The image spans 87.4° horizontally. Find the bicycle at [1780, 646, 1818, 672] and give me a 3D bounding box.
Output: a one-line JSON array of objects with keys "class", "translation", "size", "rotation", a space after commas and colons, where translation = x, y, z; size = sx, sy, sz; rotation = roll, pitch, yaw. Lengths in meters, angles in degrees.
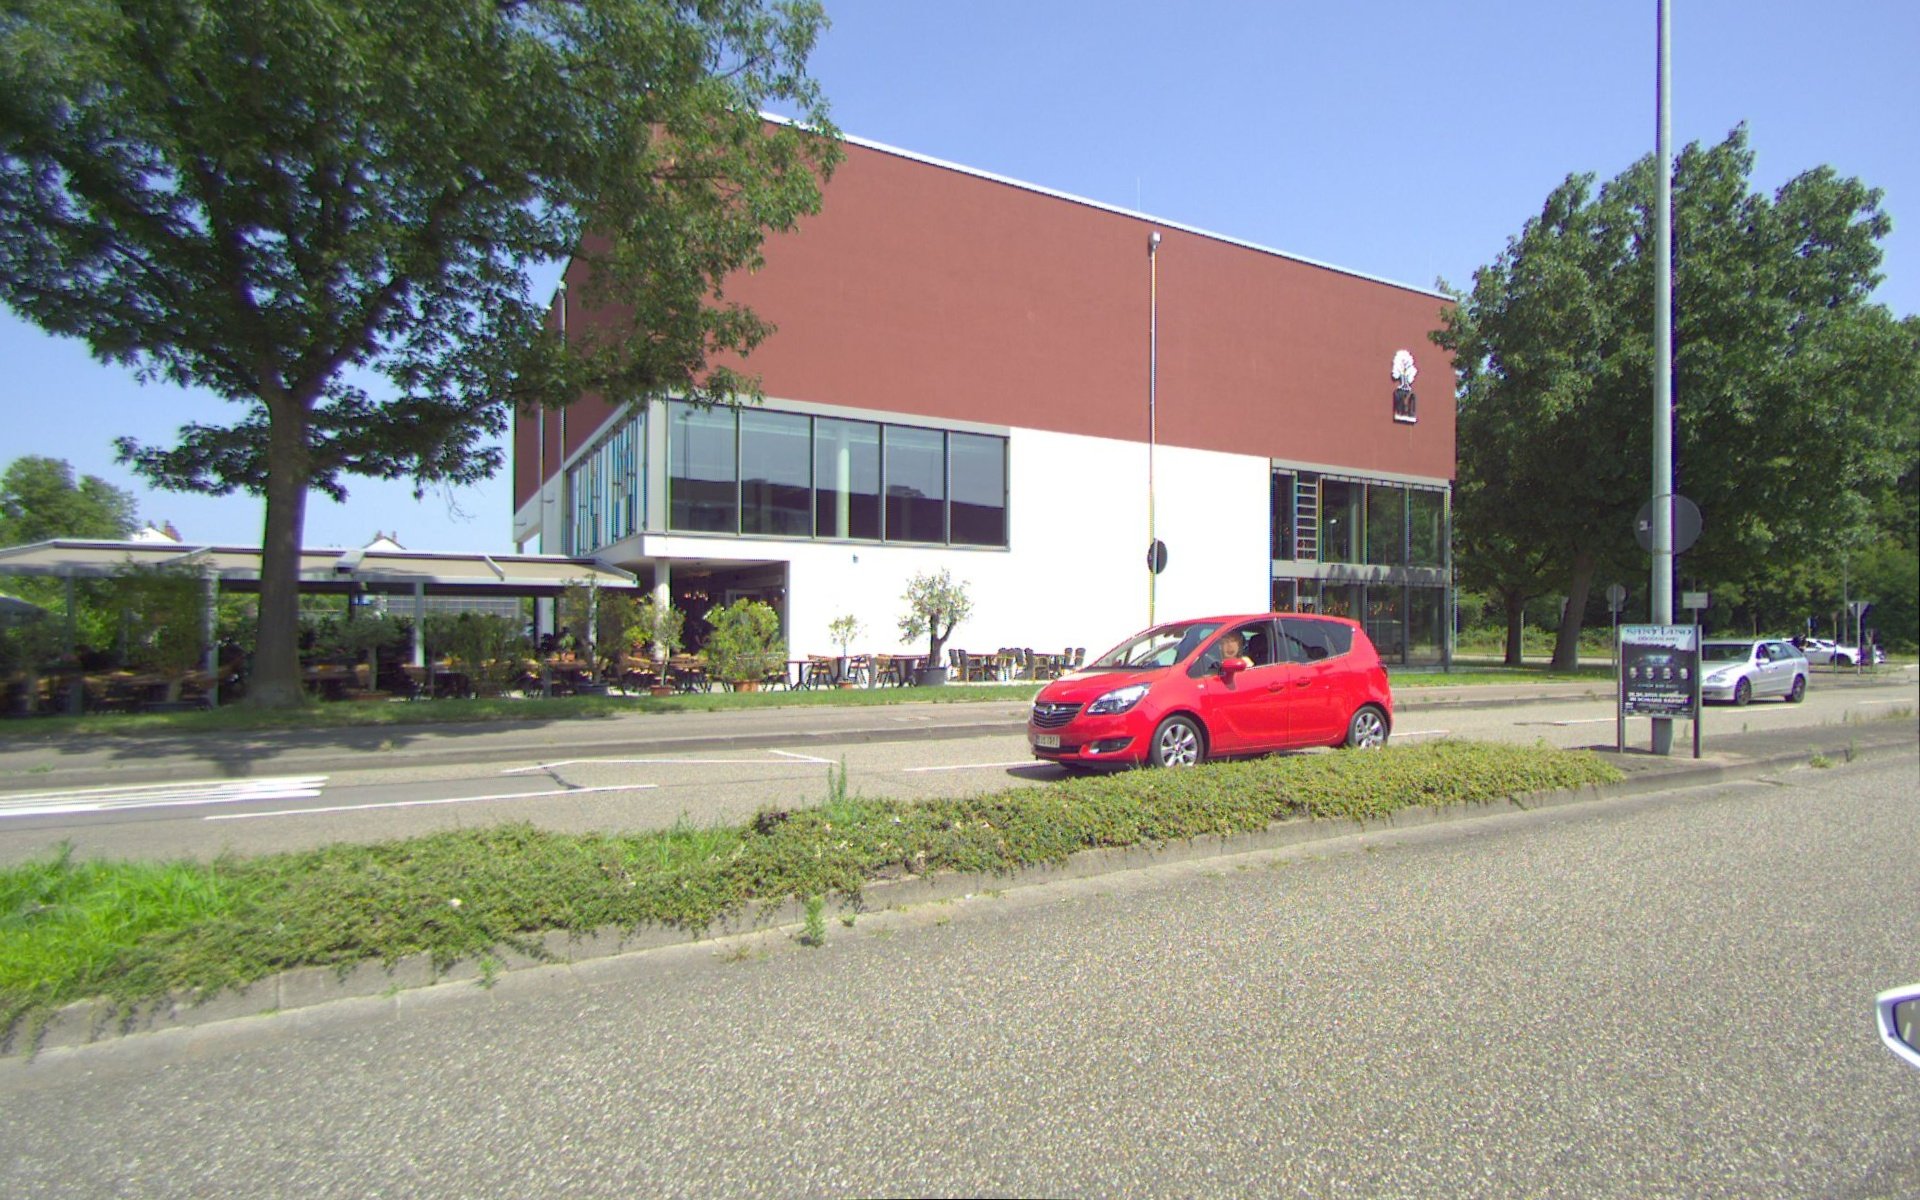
[{"class": "bicycle", "translation": [35.865, 2.499, 42.925], "size": [1.862, 1.065, 0.652], "rotation": [1, -1, -29]}]

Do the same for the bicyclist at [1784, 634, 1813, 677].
[{"class": "bicyclist", "translation": [35.819, 2.347, 42.908], "size": [0.916, 1.793, 0.646], "rotation": [1, -1, -29]}]

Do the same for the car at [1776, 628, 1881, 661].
[{"class": "car", "translation": [51.380, 2.657, 59.469], "size": [1.793, 1.703, 4.342], "rotation": [2, -5, -36]}]

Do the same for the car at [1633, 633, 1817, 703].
[{"class": "car", "translation": [17.191, 1.494, 22.532], "size": [4.309, 1.422, 1.769], "rotation": [1, -4, -31]}]

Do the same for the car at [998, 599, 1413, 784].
[{"class": "car", "translation": [2.593, 0.866, 10.424], "size": [4.103, 1.590, 1.742], "rotation": [1, -4, -30]}]

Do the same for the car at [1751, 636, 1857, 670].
[{"class": "car", "translation": [47.983, 2.986, 57.181], "size": [1.793, 1.704, 4.340], "rotation": [2, 0, -36]}]
